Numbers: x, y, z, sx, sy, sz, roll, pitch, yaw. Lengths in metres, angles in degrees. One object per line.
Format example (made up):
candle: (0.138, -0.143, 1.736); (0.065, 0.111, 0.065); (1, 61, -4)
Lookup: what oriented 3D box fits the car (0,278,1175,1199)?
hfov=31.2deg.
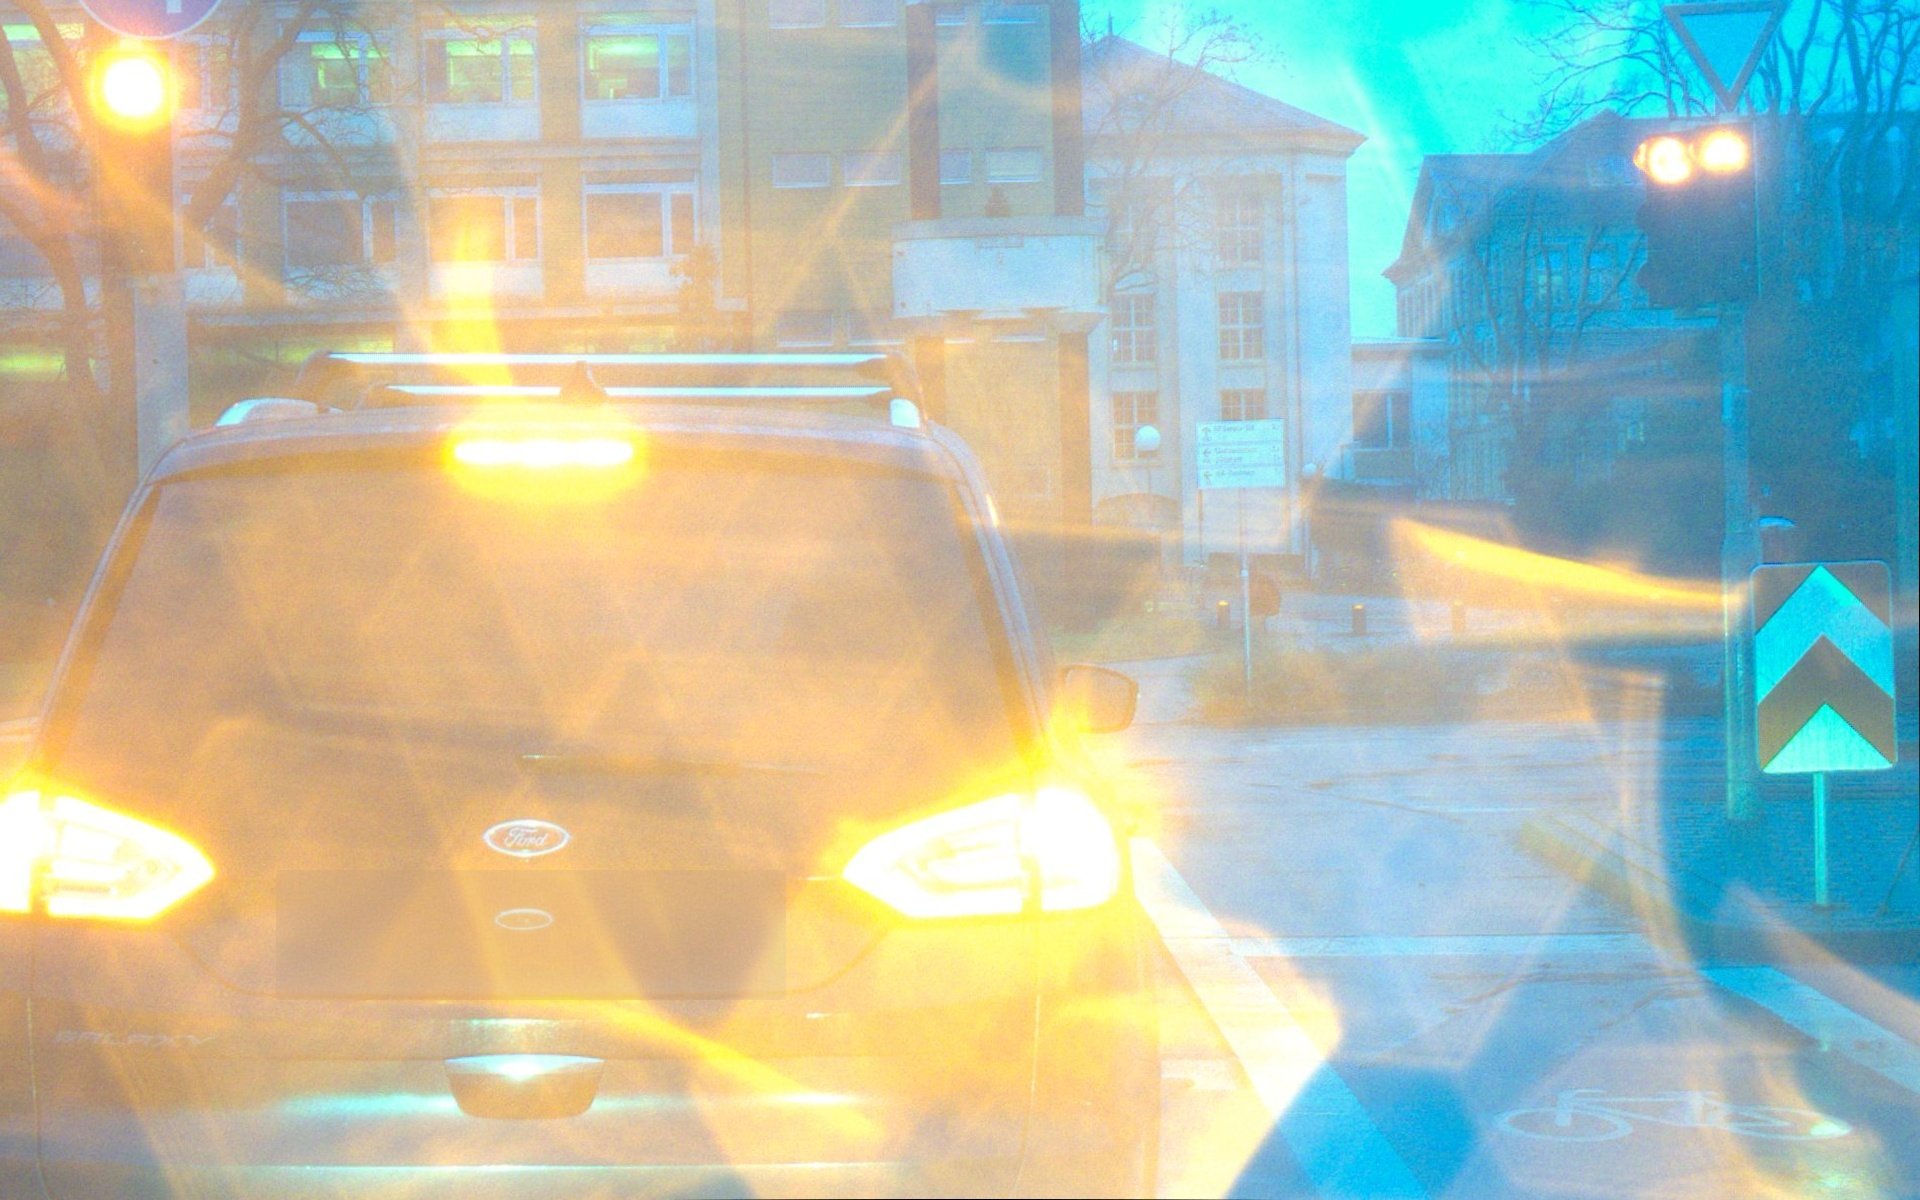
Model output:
car: (-0.563, 0.434, 6.603); (1.647, 1.812, 4.000); (0, 1, -1)

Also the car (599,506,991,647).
car: (-2.390, -0.331, 50.751); (5.548, 2.017, 1.999); (0, -1, 6)

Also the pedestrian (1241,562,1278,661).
pedestrian: (3.850, 0.148, 44.157); (0.432, 1.266, 0.441); (0, -1, 11)
